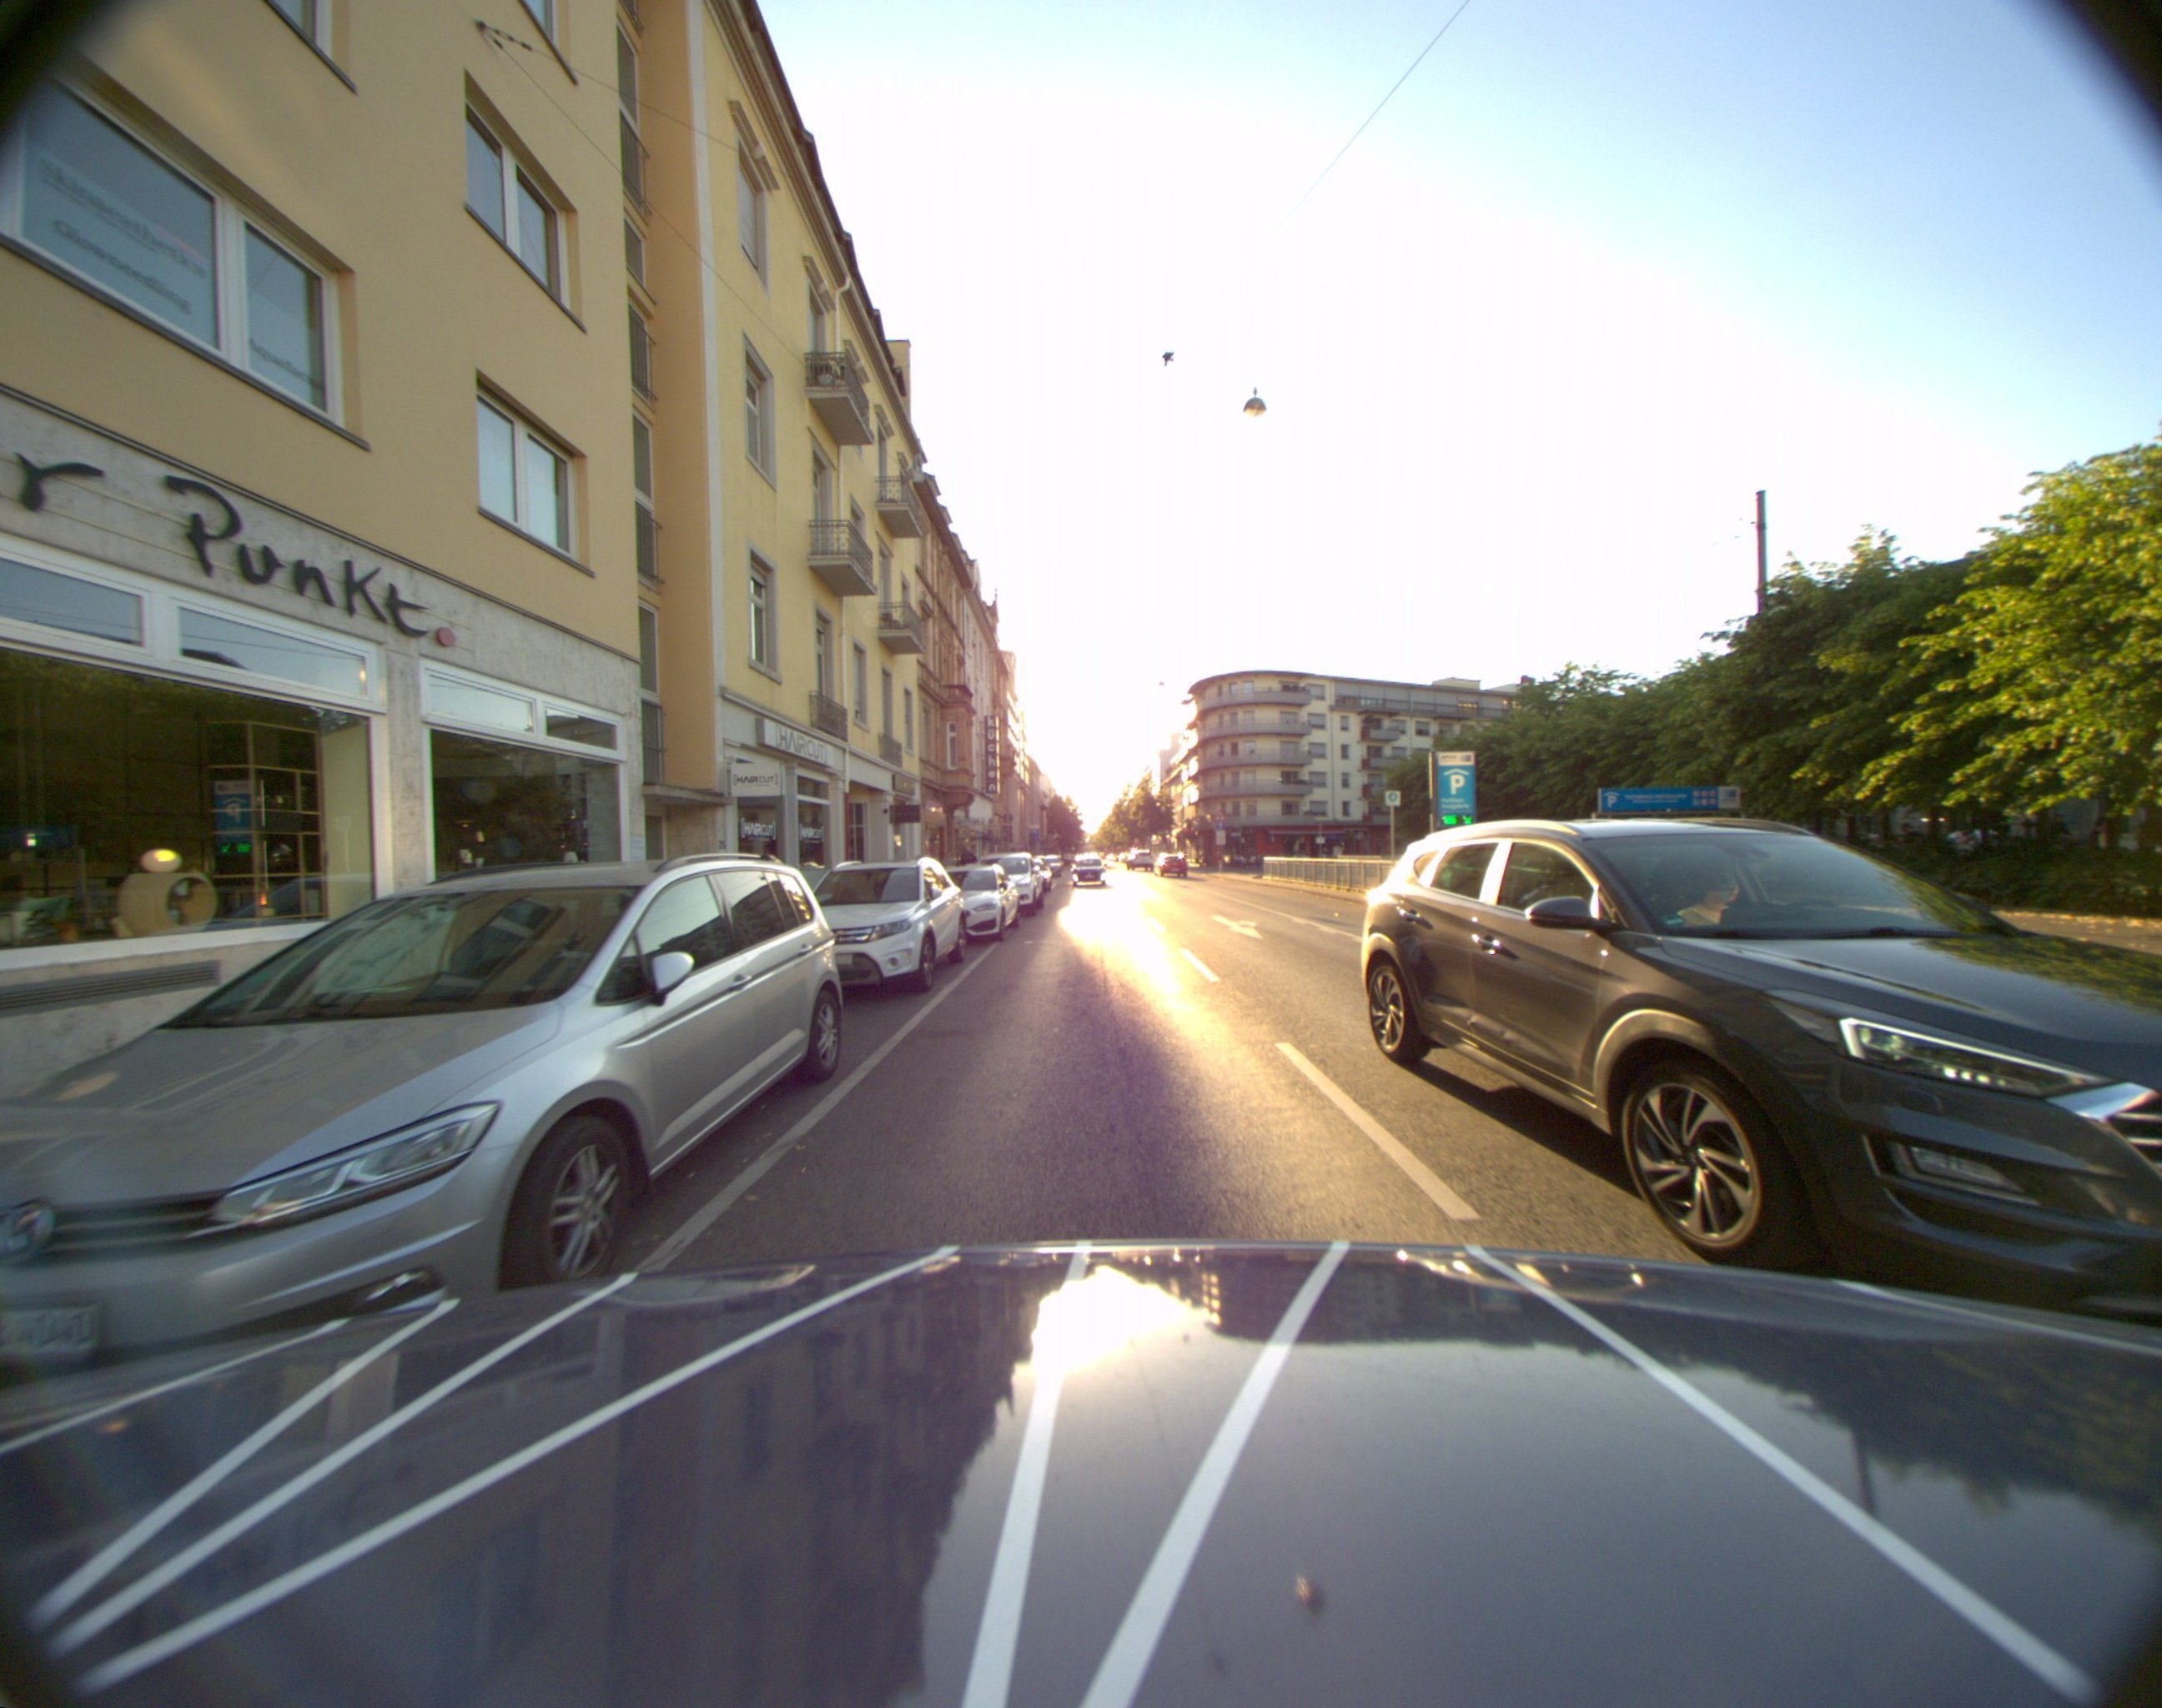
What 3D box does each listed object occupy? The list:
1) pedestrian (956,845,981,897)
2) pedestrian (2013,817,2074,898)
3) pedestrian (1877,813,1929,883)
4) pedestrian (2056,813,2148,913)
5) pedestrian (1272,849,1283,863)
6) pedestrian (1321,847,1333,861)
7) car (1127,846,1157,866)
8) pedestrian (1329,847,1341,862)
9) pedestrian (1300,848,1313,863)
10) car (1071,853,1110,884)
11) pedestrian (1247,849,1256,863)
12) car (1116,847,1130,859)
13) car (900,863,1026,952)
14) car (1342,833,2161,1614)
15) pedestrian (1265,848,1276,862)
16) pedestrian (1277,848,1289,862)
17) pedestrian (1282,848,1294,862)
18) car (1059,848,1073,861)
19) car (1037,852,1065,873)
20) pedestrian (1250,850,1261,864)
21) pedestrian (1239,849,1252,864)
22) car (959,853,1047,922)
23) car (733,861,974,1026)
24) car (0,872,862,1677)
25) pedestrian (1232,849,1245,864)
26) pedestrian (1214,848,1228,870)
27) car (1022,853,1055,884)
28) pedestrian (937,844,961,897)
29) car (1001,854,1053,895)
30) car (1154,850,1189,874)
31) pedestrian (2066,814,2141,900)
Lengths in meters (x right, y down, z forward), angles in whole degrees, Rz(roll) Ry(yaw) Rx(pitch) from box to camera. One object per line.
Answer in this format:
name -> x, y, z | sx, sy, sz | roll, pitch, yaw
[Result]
pedestrian -> -4.446, 0.649, 30.133 | 0.763, 2.002, 0.851 | -2, 1, 1
pedestrian -> 24.702, 0.077, 19.513 | 0.907, 2.002, 0.738 | -2, 1, -22
pedestrian -> 24.191, -0.184, 22.362 | 0.907, 2.002, 0.738 | -2, 1, -22
pedestrian -> 21.072, 0.185, 15.706 | 0.904, 2.002, 0.740 | -1, 1, 28
pedestrian -> 18.050, 0.183, 69.661 | 0.732, 1.314, 0.888 | -2, 1, -2
pedestrian -> 23.566, 0.040, 72.828 | 0.731, 1.315, 0.890 | -1, 1, 40
car -> 5.157, 0.184, 64.871 | 1.878, 1.621, 4.177 | 1, 0, -4
pedestrian -> 24.103, 0.038, 72.136 | 0.731, 1.315, 0.890 | -1, 1, 40
pedestrian -> 21.046, 0.125, 70.902 | 0.733, 1.314, 0.887 | -2, 1, -14
car -> 0.459, 0.722, 40.254 | 1.908, 1.438, 4.449 | -2, 0, -1
pedestrian -> 15.619, 0.185, 69.699 | 0.677, 1.315, 0.611 | -2, 1, 0
car -> 6.738, -0.198, 122.131 | 1.999, 1.805, 3.999 | -2, 0, -1
car -> -2.263, 0.980, 15.800 | 1.738, 1.448, 4.610 | -2, 0, 1
car -> 3.041, 0.773, 3.857 | 1.877, 1.679, 4.449 | -1, 0, 0
pedestrian -> 17.355, 0.102, 69.705 | 0.732, 1.314, 0.888 | -2, 1, 0
pedestrian -> 18.871, 0.085, 71.083 | 0.688, 1.314, 0.819 | -2, 1, -23
pedestrian -> 18.975, 0.097, 69.739 | 0.733, 1.314, 0.888 | -2, 1, -12
car -> -2.369, 0.081, 120.942 | 1.999, 1.806, 3.997 | -1, 2, -3
car -> -2.145, 0.591, 55.338 | 1.908, 1.421, 4.449 | -2, 0, -1
pedestrian -> 15.767, 0.271, 68.778 | 0.887, 1.185, 0.733 | -2, 1, 10
pedestrian -> 14.653, 0.218, 67.757 | 0.890, 1.315, 0.731 | -2, 1, -30
car -> -2.077, 0.853, 21.426 | 1.877, 1.664, 4.430 | -2, 0, 1
car -> -2.697, 0.970, 10.130 | 1.821, 1.611, 4.203 | -2, 0, 1
car -> -2.660, 0.992, 3.983 | 1.702, 1.607, 4.681 | -2, 0, -1
pedestrian -> 14.220, 0.250, 68.581 | 0.890, 1.315, 0.731 | -2, 1, -26
pedestrian -> 9.728, 0.358, 52.828 | 0.678, 1.509, 0.676 | -2, 1, -42
car -> -2.316, 0.751, 42.266 | 1.644, 1.574, 4.201 | -2, 0, -1
pedestrian -> -5.144, 0.638, 29.667 | 0.673, 2.002, 0.851 | -2, 1, 1
car -> -2.239, 0.819, 32.550 | 1.908, 1.531, 4.449 | -2, 0, -1
car -> 5.891, 0.481, 49.765 | 1.790, 1.458, 3.956 | -1, 1, -1
pedestrian -> 24.611, 0.056, 18.294 | 0.906, 2.002, 0.738 | -2, 1, -11
